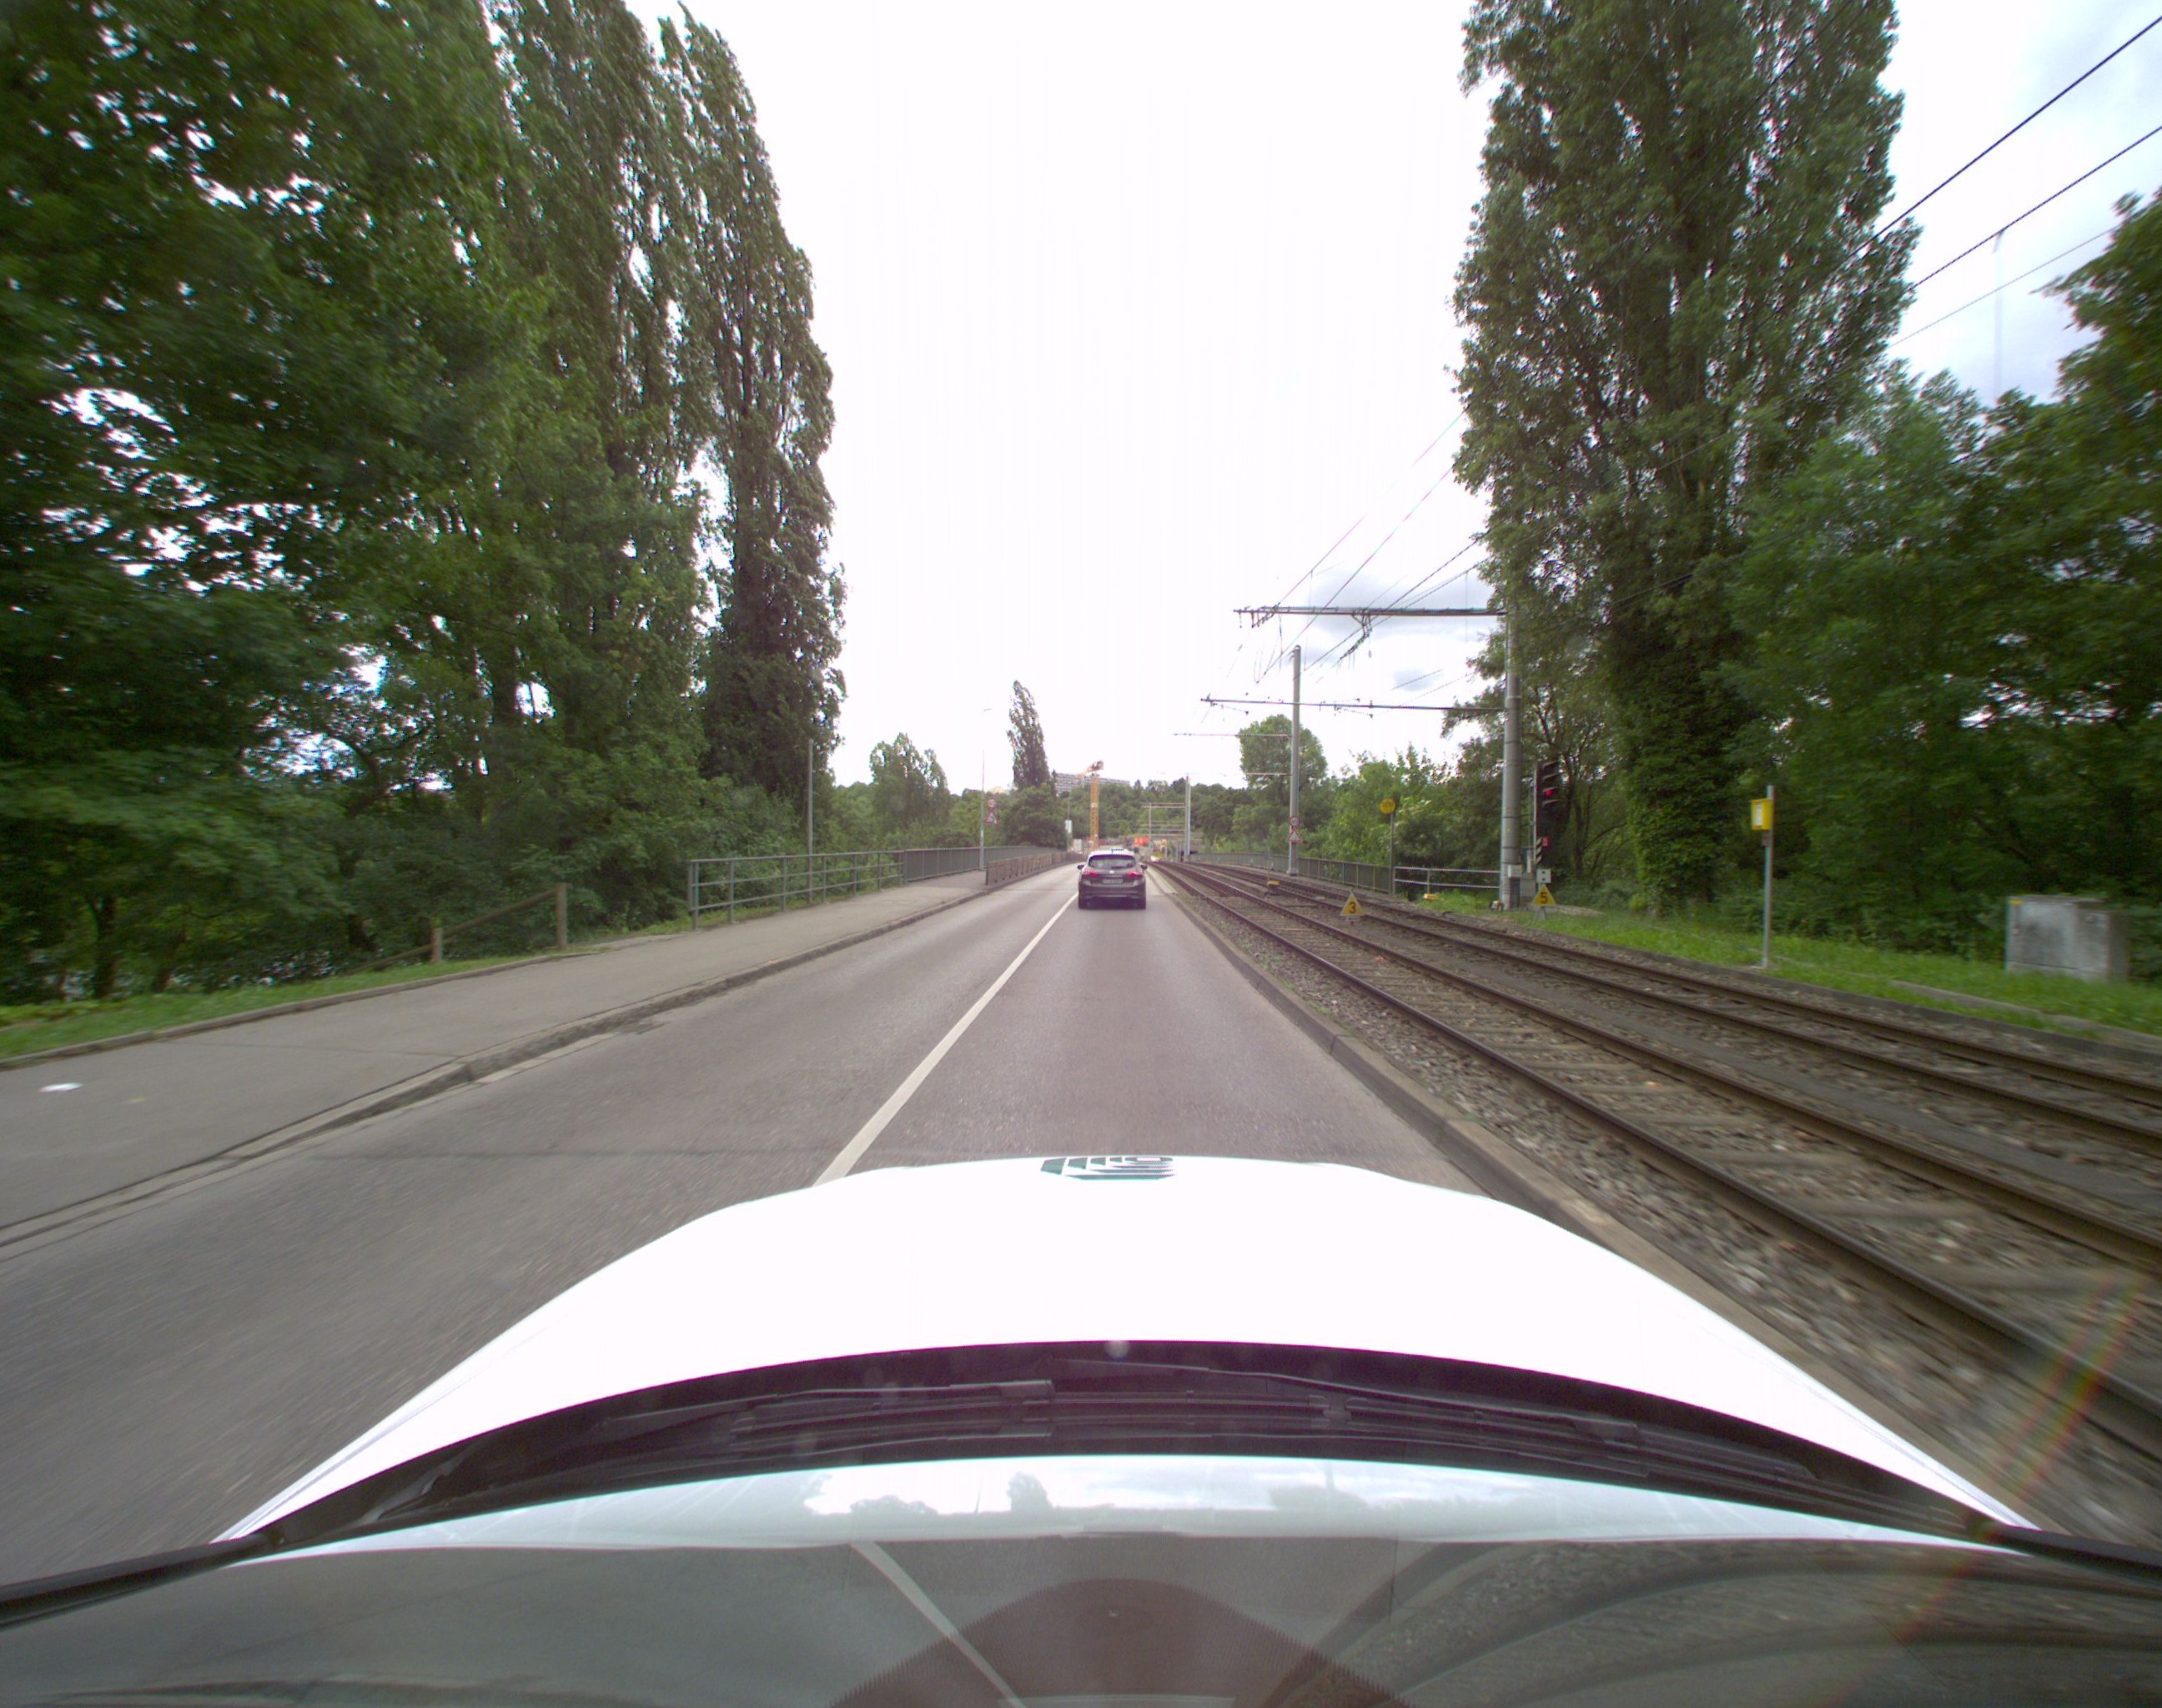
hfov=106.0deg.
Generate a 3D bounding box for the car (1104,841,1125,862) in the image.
[{"bbox_3d":[2.862,-0.225,69.714,1.673,1.606,4.312,2,1,2],"label":"car"}]

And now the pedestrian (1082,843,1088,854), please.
[{"bbox_3d":[0.602,-0.788,118.482,0.718,1.701,0.723,1,0,2],"label":"pedestrian"}]

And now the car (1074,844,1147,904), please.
[{"bbox_3d":[0.733,0.512,22.465,1.824,1.510,3.998,0,0,-1],"label":"car"}]

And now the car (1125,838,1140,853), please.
[{"bbox_3d":[5.747,-0.961,90.898,1.673,1.606,4.313,2,1,3],"label":"car"}]
